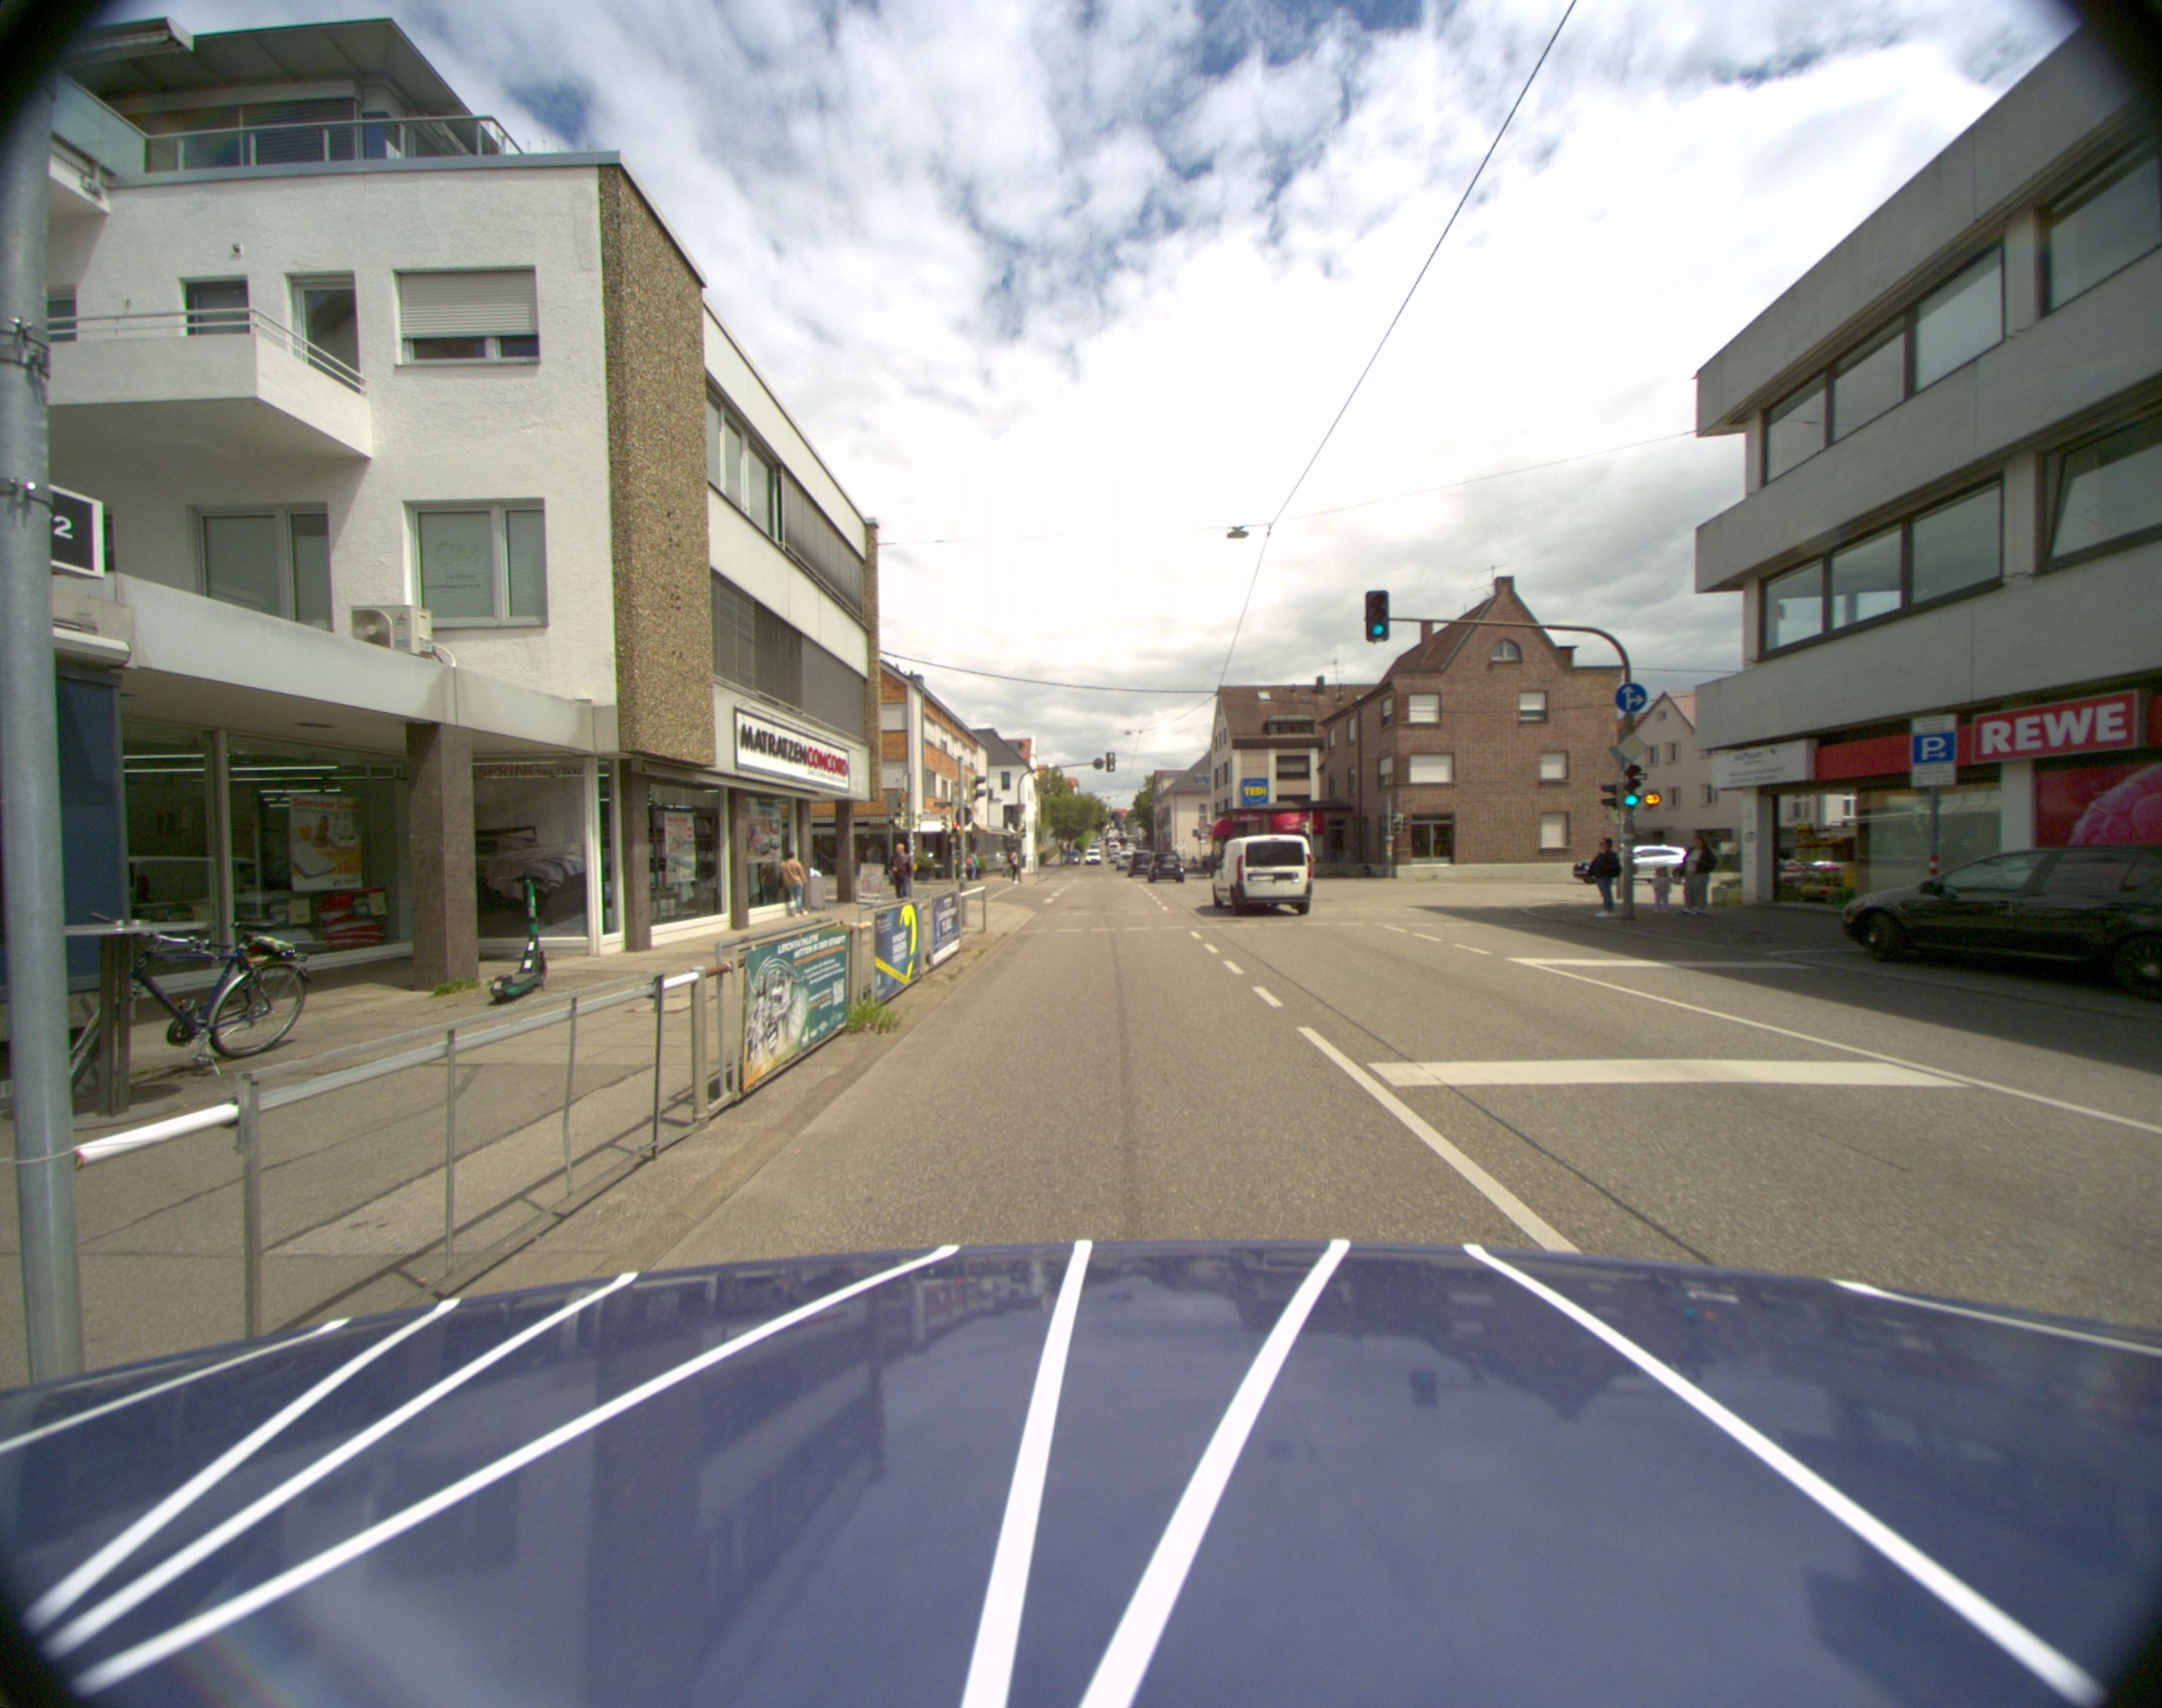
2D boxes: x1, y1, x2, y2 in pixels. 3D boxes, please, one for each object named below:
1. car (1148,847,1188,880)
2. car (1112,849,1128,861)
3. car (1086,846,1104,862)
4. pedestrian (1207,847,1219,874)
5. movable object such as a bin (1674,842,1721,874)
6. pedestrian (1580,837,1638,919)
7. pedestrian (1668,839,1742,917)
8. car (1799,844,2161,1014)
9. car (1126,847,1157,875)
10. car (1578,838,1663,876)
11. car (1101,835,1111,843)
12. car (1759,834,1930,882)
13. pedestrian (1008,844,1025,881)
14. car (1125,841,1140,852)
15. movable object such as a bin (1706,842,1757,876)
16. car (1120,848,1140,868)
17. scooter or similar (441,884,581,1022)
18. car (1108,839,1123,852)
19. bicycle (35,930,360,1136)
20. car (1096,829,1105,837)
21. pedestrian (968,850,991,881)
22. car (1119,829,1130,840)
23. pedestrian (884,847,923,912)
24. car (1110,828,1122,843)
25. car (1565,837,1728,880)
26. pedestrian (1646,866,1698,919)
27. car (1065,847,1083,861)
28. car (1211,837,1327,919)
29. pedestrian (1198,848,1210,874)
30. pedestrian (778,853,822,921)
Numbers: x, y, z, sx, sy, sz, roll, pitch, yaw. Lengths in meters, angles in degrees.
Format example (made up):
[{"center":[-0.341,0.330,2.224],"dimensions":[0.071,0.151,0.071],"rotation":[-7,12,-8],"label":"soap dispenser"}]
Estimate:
[{"center":[4.385,0.461,38.710],"dimensions":[1.681,1.626,2.833],"rotation":[-1,1,0],"label":"car"},{"center":[4.913,0.085,95.741],"dimensions":[1.757,1.478,3.970],"rotation":[0,0,0],"label":"car"},{"center":[1.646,-0.030,91.761],"dimensions":[1.999,1.797,4.765],"rotation":[-1,0,0],"label":"car"},{"center":[8.609,0.413,49.536],"dimensions":[0.683,1.706,0.878],"rotation":[0,1,8],"label":"pedestrian"},{"center":[31.995,0.196,39.454],"dimensions":[1.519,1.615,1.145],"rotation":[-2,1,5],"label":"movable object such as a bin"},{"center":[10.879,0.492,15.677],"dimensions":[0.719,1.635,0.682],"rotation":[-2,1,7],"label":"pedestrian"},{"center":[12.818,0.481,15.635],"dimensions":[0.820,1.546,0.846],"rotation":[-2,1,7],"label":"pedestrian"},{"center":[10.795,0.661,8.265],"dimensions":[2.049,1.467,4.286],"rotation":[-2,0,3],"label":"car"},{"center":[4.338,0.460,55.090],"dimensions":[1.953,1.866,4.876],"rotation":[-1,1,1],"label":"car"},{"center":[27.923,0.124,39.480],"dimensions":[1.869,1.852,3.702],"rotation":[0,0,2],"label":"car"},{"center":[5.020,-2.981,152.533],"dimensions":[1.858,1.414,4.192],"rotation":[0,0,0],"label":"car"},{"center":[28.632,0.148,28.624],"dimensions":[4.347,1.744,2.000],"rotation":[0,1,2],"label":"car"},{"center":[-3.275,0.425,38.649],"dimensions":[0.581,1.820,0.882],"rotation":[1,1,18],"label":"pedestrian"},{"center":[8.217,-1.203,120.761],"dimensions":[2.110,1.778,4.529],"rotation":[-1,1,1],"label":"car"},{"center":[32.009,0.226,37.419],"dimensions":[1.519,1.615,1.145],"rotation":[-2,1,5],"label":"movable object such as a bin"},{"center":[4.834,0.337,74.997],"dimensions":[1.819,1.919,4.112],"rotation":[0,0,2],"label":"car"},{"center":[-5.923,0.981,7.979],"dimensions":[0.690,1.260,1.184],"rotation":[-1,1,-10],"label":"scooter or similar"},{"center":[5.175,-1.267,114.184],"dimensions":[1.982,1.985,5.028],"rotation":[0,0,0],"label":"car"},{"center":[-5.938,1.126,5.264],"dimensions":[0.476,1.022,1.635],"rotation":[-1,1,-7],"label":"bicycle"},{"center":[4.458,-4.711,171.893],"dimensions":[1.998,1.654,4.000],"rotation":[-1,0,2],"label":"car"},{"center":[-4.988,0.560,37.237],"dimensions":[0.777,1.517,0.821],"rotation":[0,1,29],"label":"pedestrian"},{"center":[8.744,-3.914,153.830],"dimensions":[2.110,2.109,4.765],"rotation":[-1,0,1],"label":"car"},{"center":[-4.613,0.650,19.766],"dimensions":[0.797,1.661,0.807],"rotation":[0,1,1],"label":"pedestrian"},{"center":[8.432,-4.475,182.075],"dimensions":[2.428,3.409,7.636],"rotation":[0,0,0],"label":"car"},{"center":[23.756,0.196,32.098],"dimensions":[5.254,1.758,2.001],"rotation":[0,0,5],"label":"car"},{"center":[12.267,0.789,15.786],"dimensions":[0.560,1.051,0.662],"rotation":[-2,1,7],"label":"pedestrian"},{"center":[-0.786,-0.036,91.742],"dimensions":[1.998,1.654,4.000],"rotation":[-1,0,2],"label":"car"},{"center":[4.537,0.528,19.032],"dimensions":[1.950,1.810,4.278],"rotation":[-1,0,2],"label":"car"},{"center":[8.025,0.428,49.633],"dimensions":[0.778,1.685,0.796],"rotation":[0,1,8],"label":"pedestrian"},{"center":[-6.338,0.728,17.180],"dimensions":[0.681,1.490,0.720],"rotation":[-1,1,2],"label":"pedestrian"}]
